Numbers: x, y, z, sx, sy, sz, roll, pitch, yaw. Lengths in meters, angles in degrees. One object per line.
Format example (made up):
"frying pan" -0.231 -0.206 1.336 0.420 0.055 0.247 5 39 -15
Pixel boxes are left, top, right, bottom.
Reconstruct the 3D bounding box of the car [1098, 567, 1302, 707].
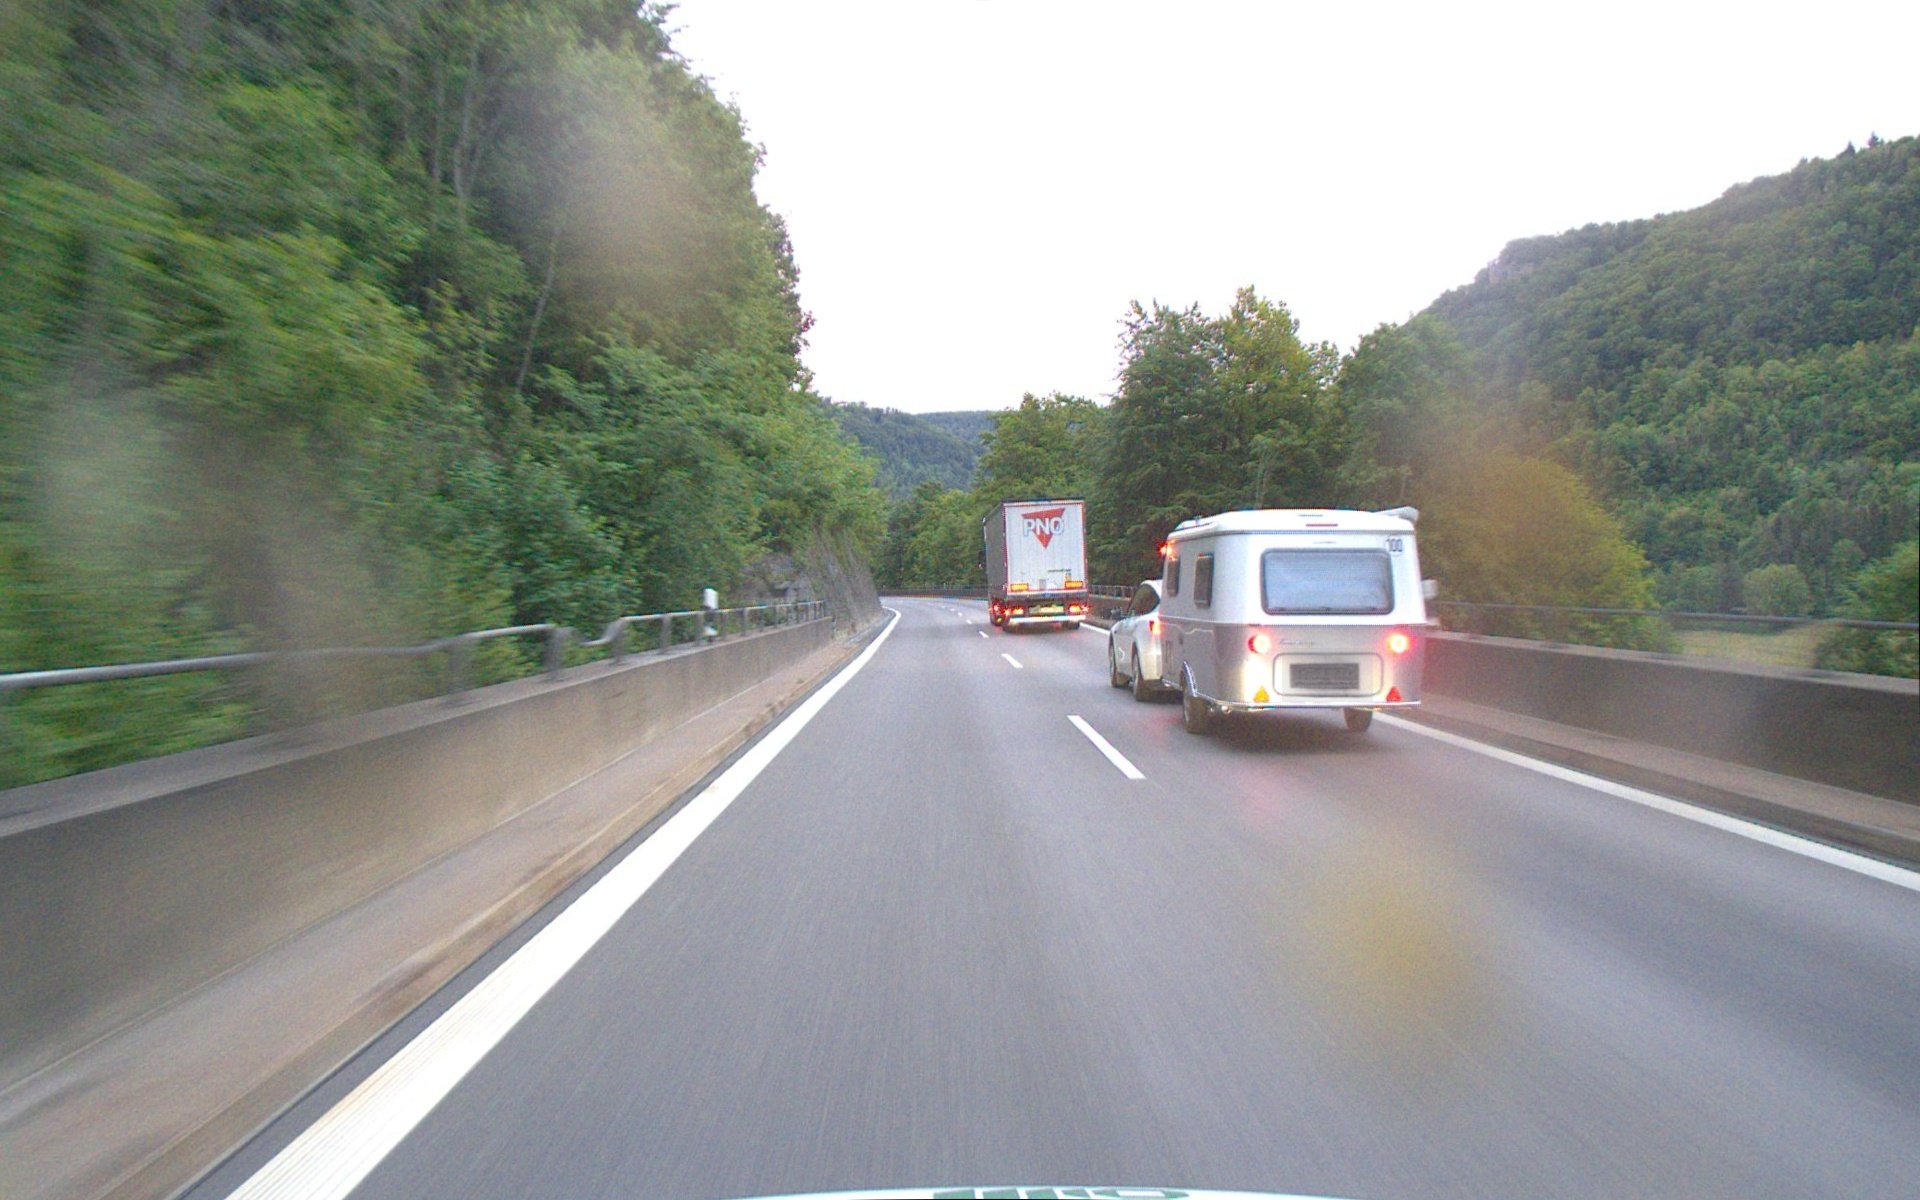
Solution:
"car" 3.210 0.456 23.131 1.953 1.642 4.863 -3 0 -1

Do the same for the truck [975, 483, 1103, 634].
"truck" 2.421 -1.269 57.223 3.228 4.245 16.501 -4 0 0

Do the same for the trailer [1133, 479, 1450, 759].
"trailer" 3.325 0.145 17.971 2.013 2.416 5.936 -3 0 -1
